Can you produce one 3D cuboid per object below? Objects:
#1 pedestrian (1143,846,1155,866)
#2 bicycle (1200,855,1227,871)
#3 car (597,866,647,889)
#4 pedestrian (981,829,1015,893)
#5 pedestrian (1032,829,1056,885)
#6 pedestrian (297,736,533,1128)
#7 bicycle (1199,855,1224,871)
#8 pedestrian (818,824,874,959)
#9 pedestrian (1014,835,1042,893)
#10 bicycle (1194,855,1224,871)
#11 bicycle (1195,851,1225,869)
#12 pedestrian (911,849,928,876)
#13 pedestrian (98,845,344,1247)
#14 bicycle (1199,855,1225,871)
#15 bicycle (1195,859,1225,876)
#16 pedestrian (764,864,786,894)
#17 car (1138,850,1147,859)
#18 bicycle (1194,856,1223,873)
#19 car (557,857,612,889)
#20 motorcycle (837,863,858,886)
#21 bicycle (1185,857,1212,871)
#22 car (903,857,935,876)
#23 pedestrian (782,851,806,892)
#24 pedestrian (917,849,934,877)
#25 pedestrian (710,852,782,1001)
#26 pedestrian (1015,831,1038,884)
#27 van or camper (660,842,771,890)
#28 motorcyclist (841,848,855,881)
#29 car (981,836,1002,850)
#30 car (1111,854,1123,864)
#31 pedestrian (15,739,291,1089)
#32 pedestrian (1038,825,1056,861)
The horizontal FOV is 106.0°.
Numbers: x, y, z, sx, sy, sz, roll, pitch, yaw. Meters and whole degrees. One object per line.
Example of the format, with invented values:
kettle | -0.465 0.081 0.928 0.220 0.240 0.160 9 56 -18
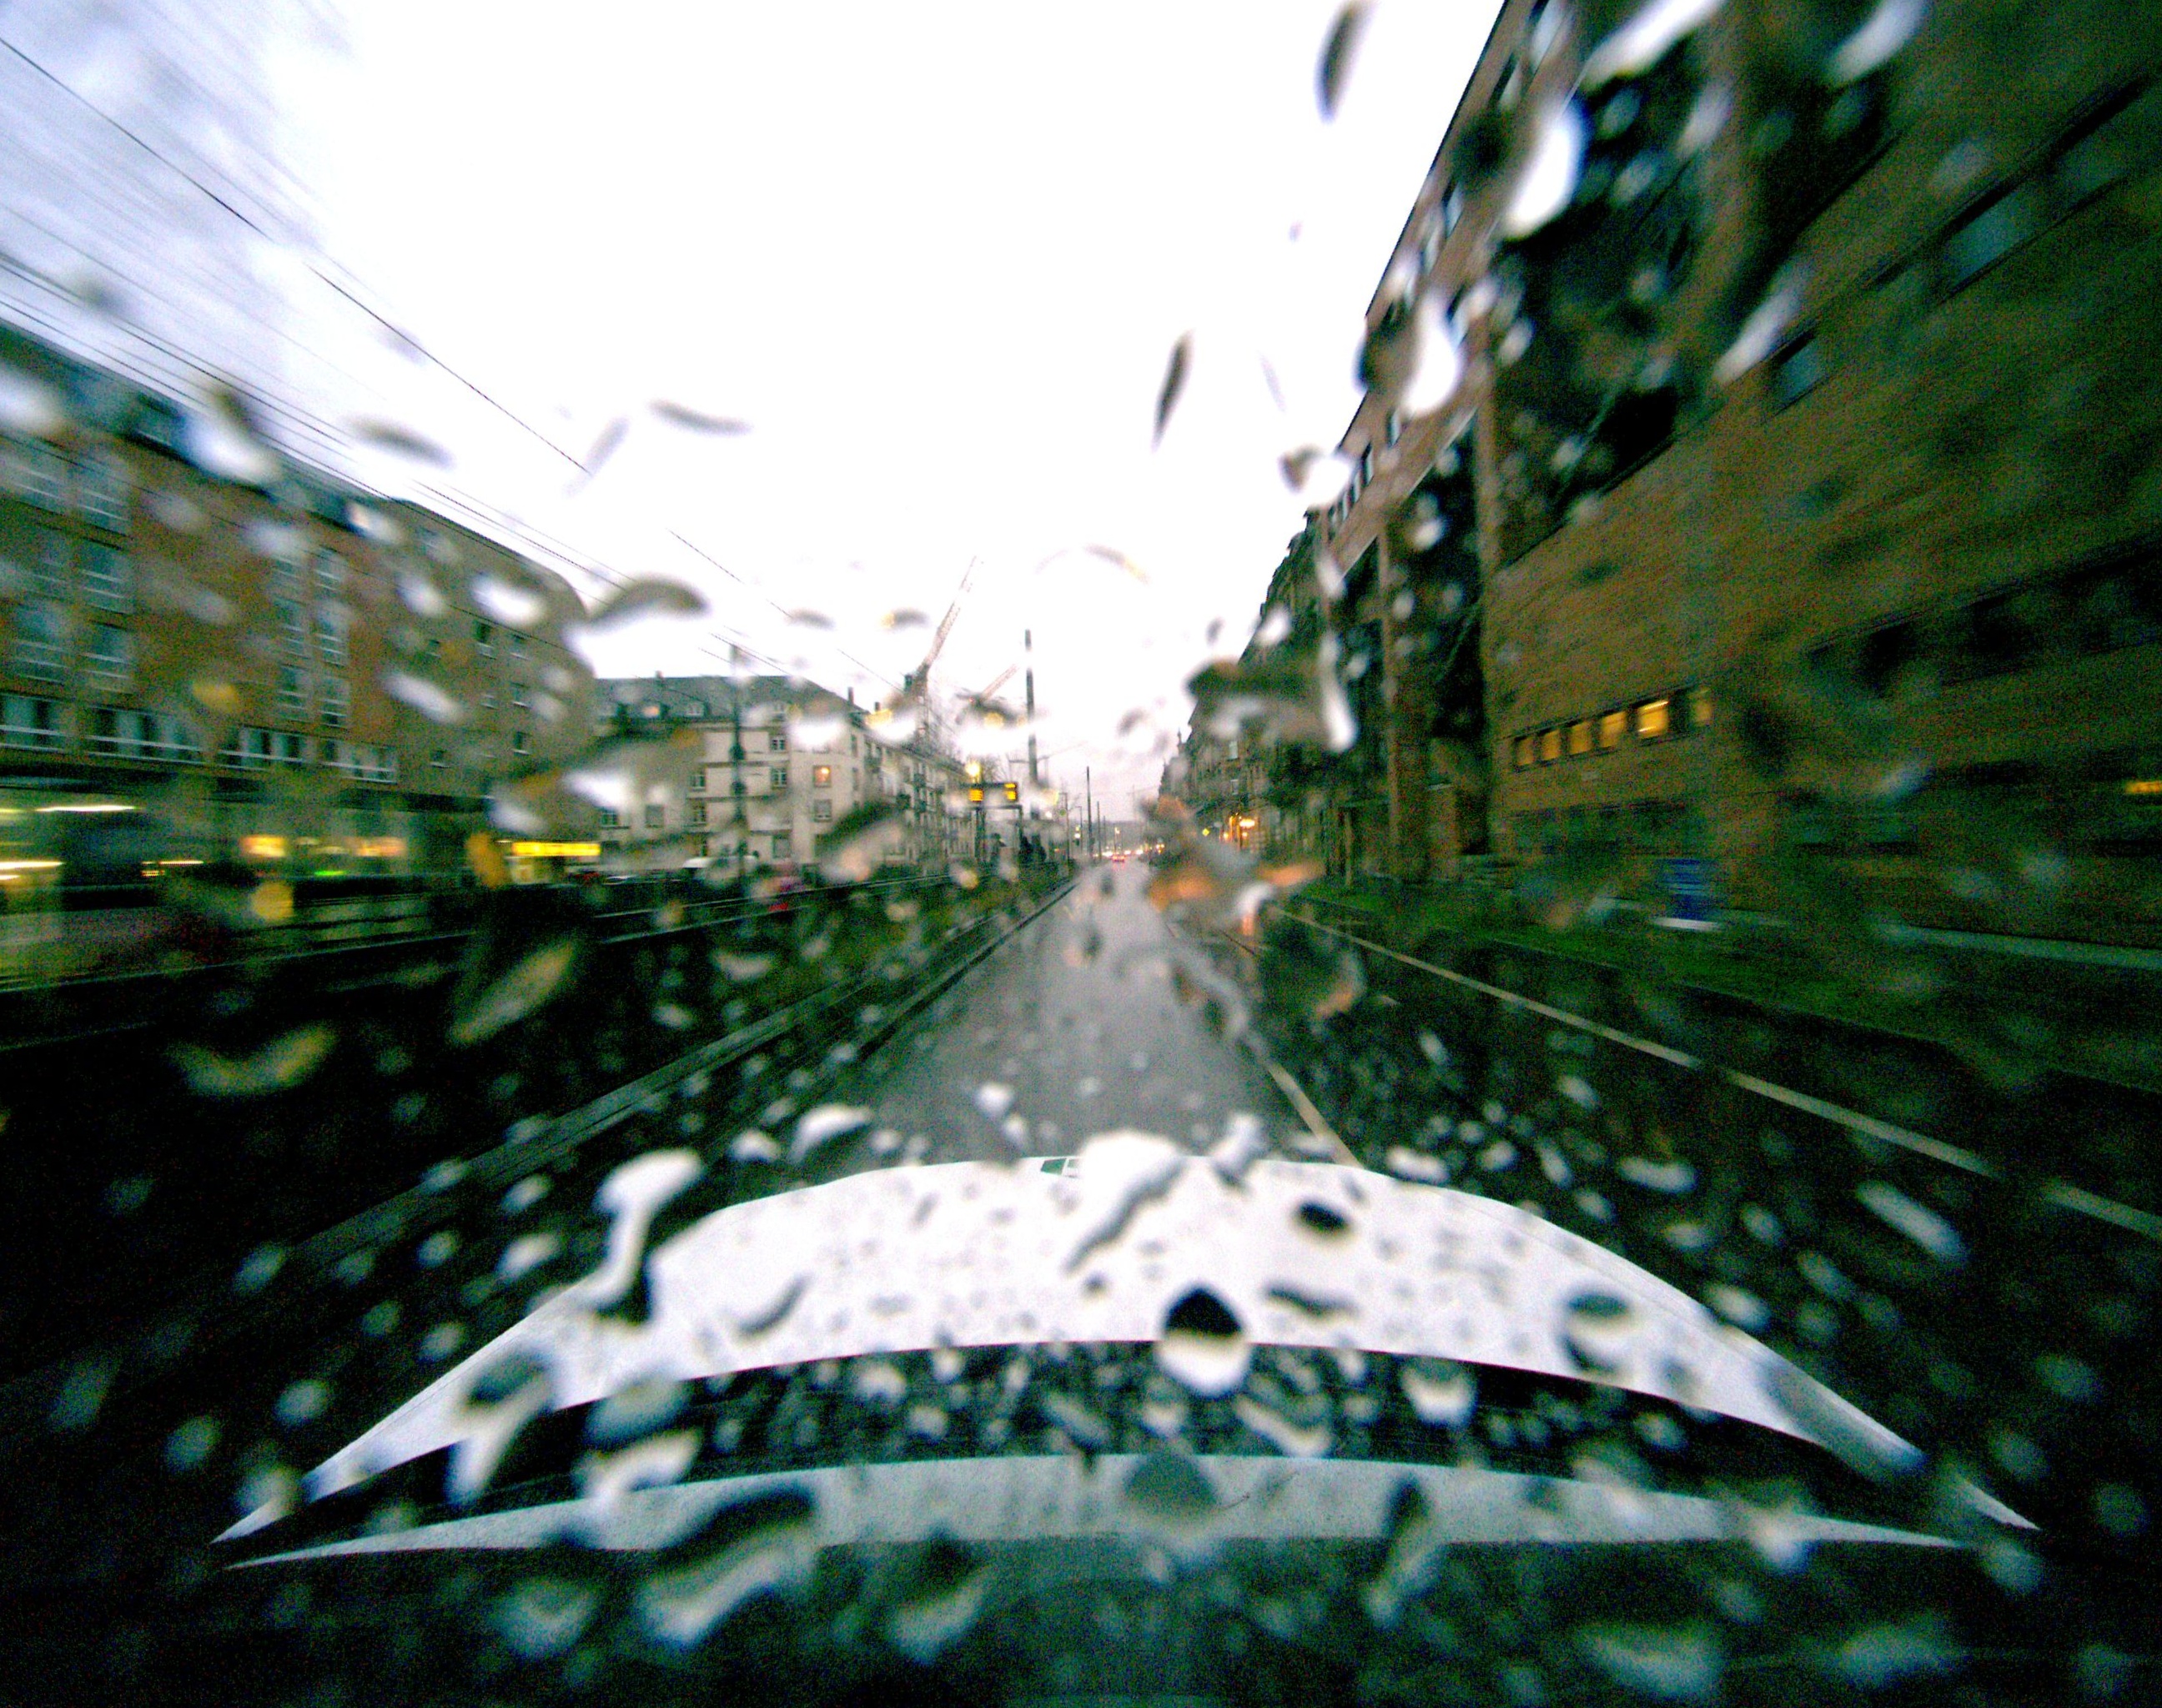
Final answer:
pedestrian | 6.988 0.218 83.542 0.907 2.013 0.860 -2 0 21
bicycle | 9.269 0.617 57.036 1.723 1.055 0.371 -4 0 1
car | -32.354 1.644 57.500 1.600 1.430 4.132 -3 0 -9
pedestrian | -2.251 0.186 22.037 0.778 1.704 0.769 -1 0 -16
pedestrian | -1.453 0.114 32.052 0.806 2.110 0.805 -2 0 3
pedestrian | -2.924 0.318 3.623 0.538 1.590 0.563 -2 0 0
bicycle | 9.303 0.624 58.108 1.723 1.055 0.371 -4 0 1
pedestrian | -3.079 0.471 10.680 0.647 1.704 0.565 -1 0 -16
pedestrian | -1.821 0.327 28.143 0.806 1.947 0.805 -2 0 3
bicycle | 9.531 0.635 60.681 2.136 1.055 0.484 -4 0 1
bicycle | 9.319 0.429 58.966 2.001 1.095 0.425 -5 0 1
pedestrian | -10.703 0.580 53.890 0.802 1.780 0.813 -1 0 -39
pedestrian | -3.894 0.810 3.726 0.479 1.678 0.563 -2 0 0
bicycle | 9.232 0.621 57.539 1.723 1.055 0.371 -4 0 1
bicycle | 9.537 1.000 60.227 2.136 1.055 0.425 -5 1 1
pedestrian | -11.700 0.954 31.133 0.611 1.103 0.585 -1 0 -37
car | 12.453 0.091 165.151 1.790 1.604 3.775 -3 0 5
bicycle | 9.736 0.800 62.164 2.136 1.055 0.425 -5 1 1
car | -34.523 1.271 56.767 1.742 2.034 4.132 -3 0 -9
motorcycle | -10.948 0.942 38.249 0.511 1.008 1.806 -1 0 -1
bicycle | 9.322 0.791 64.606 2.097 1.052 0.474 -4 0 -24
car | -12.325 0.960 62.146 1.675 1.354 3.547 -1 0 2
pedestrian | -11.033 0.664 31.270 0.639 1.524 0.747 -1 0 -39
pedestrian | -9.945 0.572 52.037 0.802 1.780 0.813 -1 0 -39
pedestrian | -3.980 0.837 9.718 0.538 1.692 0.643 -2 0 0
pedestrian | -2.201 0.148 33.109 0.807 2.110 0.804 -2 0 0
van or camper | -22.218 0.676 49.977 2.756 2.682 6.774 -1 0 10
motorcyclist | -10.943 0.489 38.253 0.497 1.496 0.556 -1 0 -3
car | -9.434 -1.156 85.687 1.675 1.354 3.547 -1 0 2
car | 5.829 0.837 130.691 1.776 1.467 3.152 -2 0 4
pedestrian | -4.574 0.273 4.059 0.616 1.590 0.622 -2 0 0
pedestrian | -1.438 -0.465 34.473 0.680 1.516 0.616 -1 0 -10
